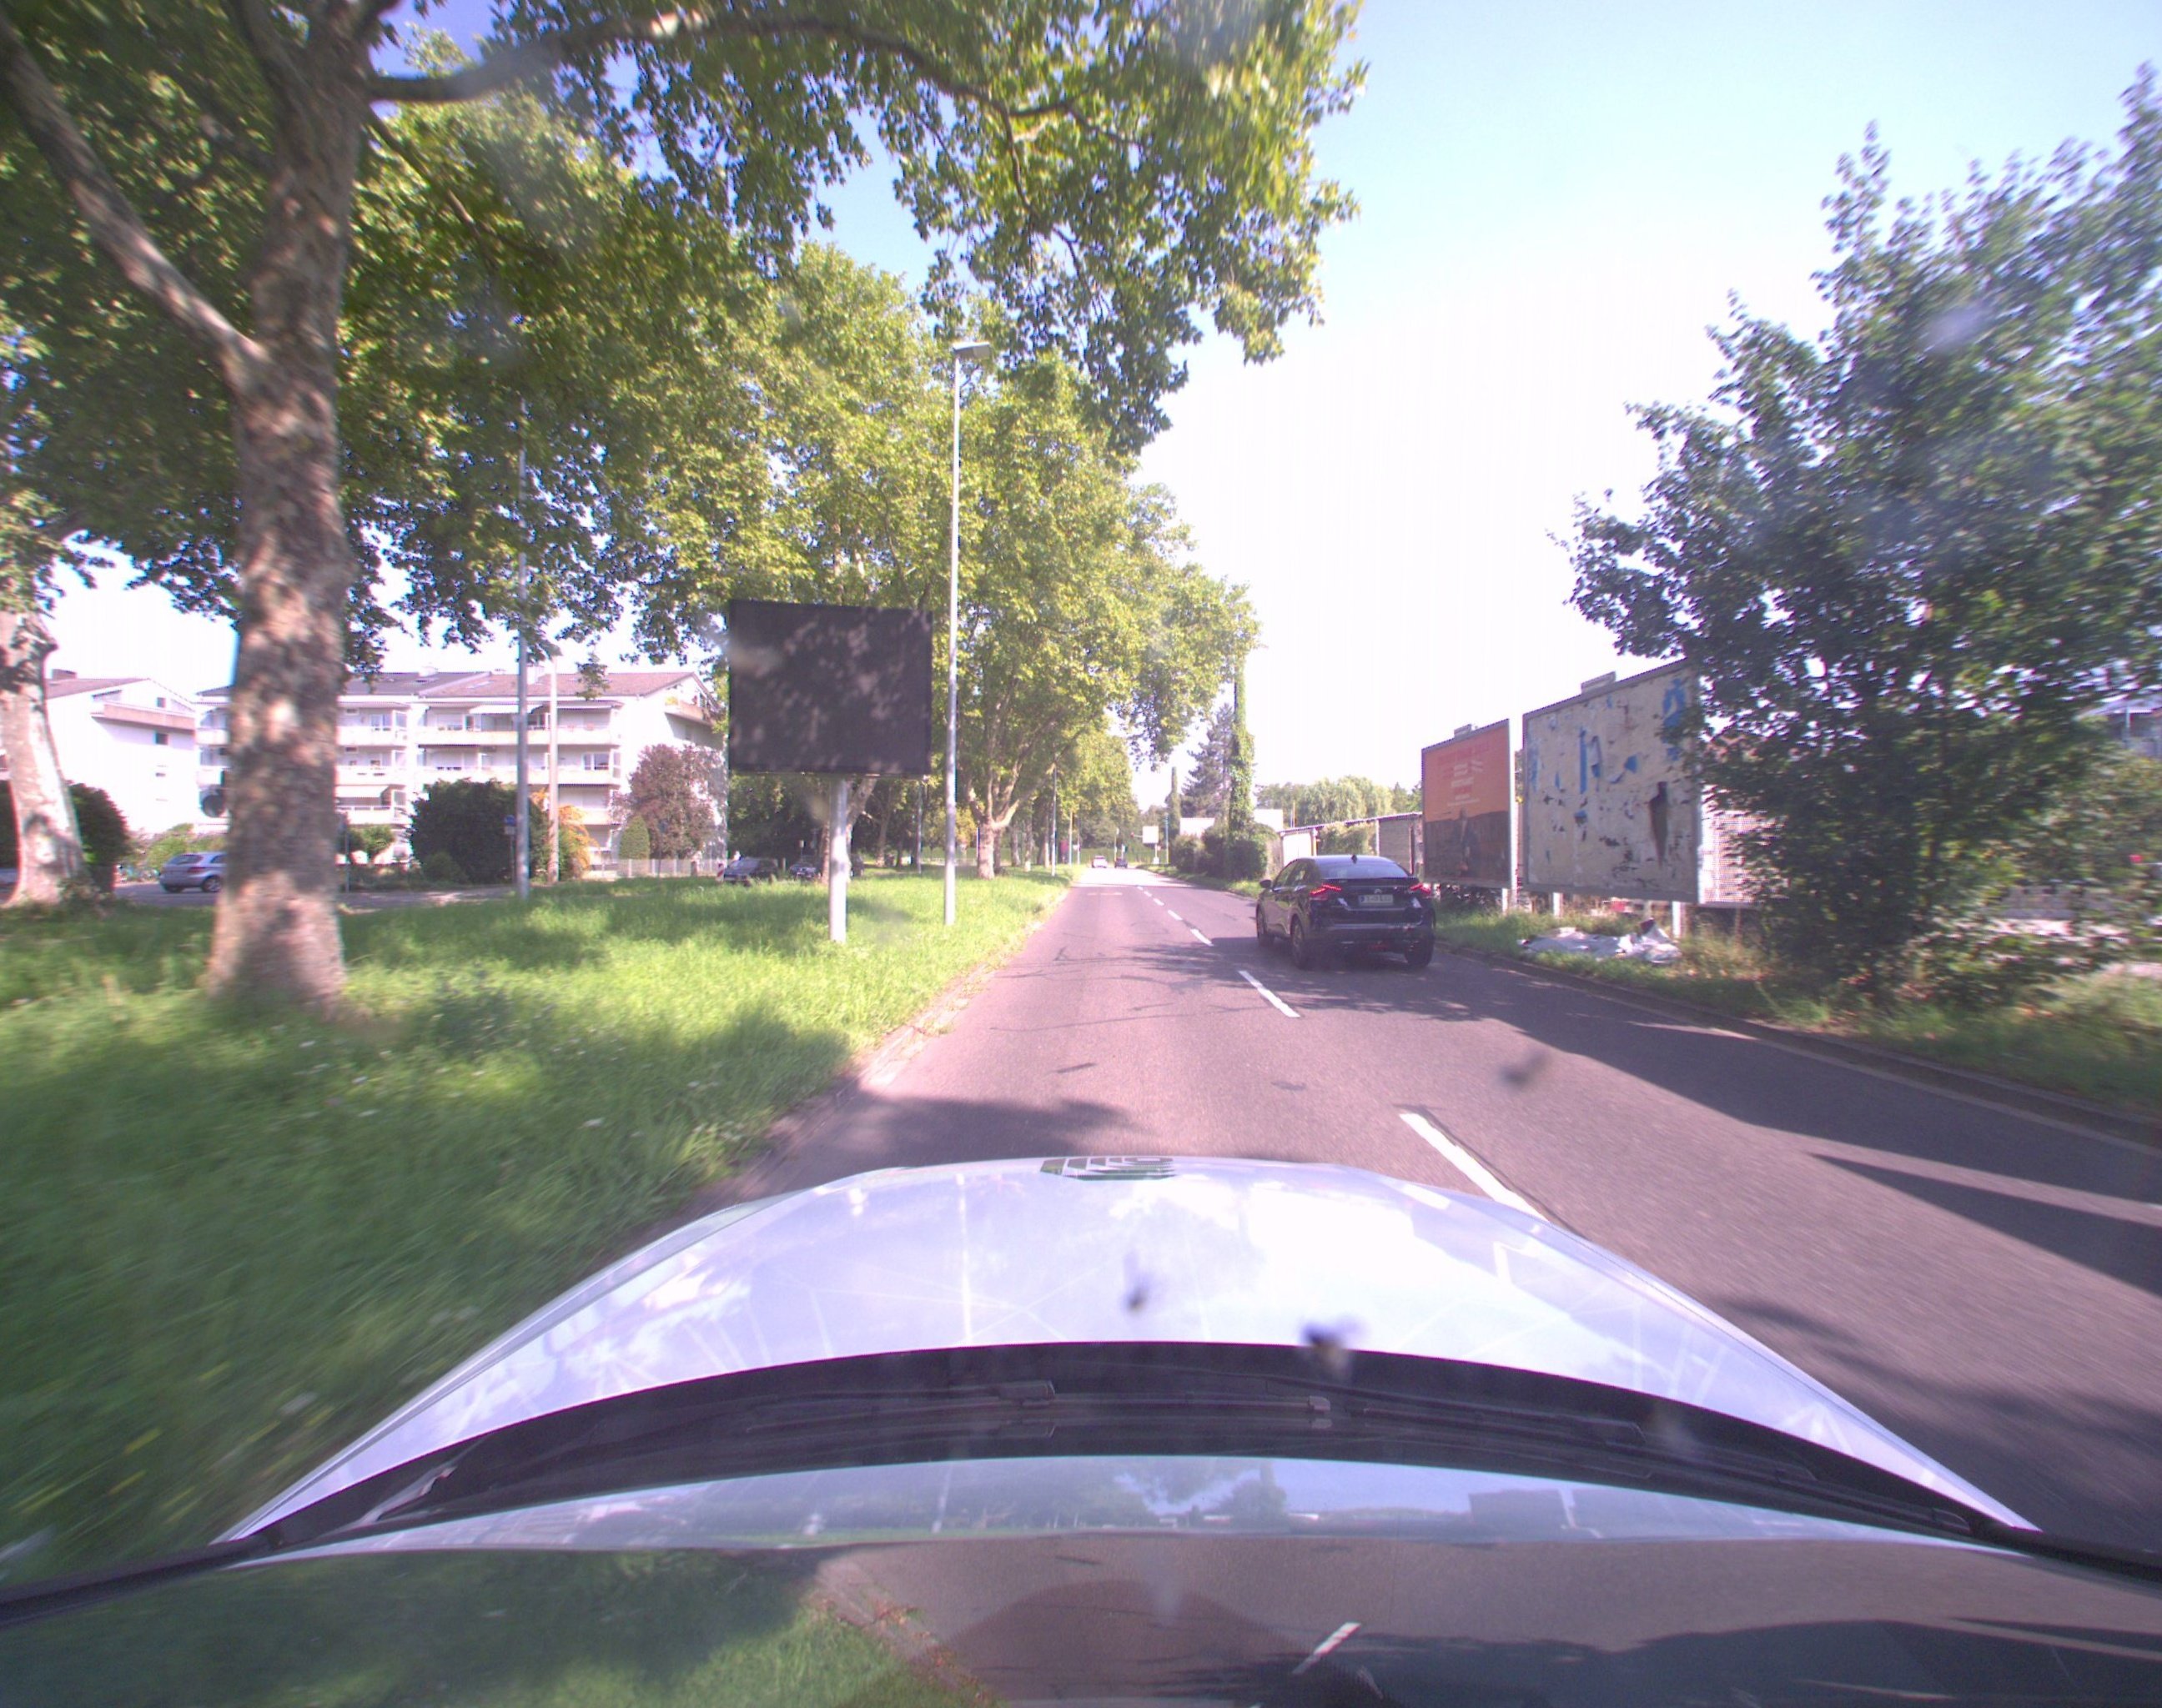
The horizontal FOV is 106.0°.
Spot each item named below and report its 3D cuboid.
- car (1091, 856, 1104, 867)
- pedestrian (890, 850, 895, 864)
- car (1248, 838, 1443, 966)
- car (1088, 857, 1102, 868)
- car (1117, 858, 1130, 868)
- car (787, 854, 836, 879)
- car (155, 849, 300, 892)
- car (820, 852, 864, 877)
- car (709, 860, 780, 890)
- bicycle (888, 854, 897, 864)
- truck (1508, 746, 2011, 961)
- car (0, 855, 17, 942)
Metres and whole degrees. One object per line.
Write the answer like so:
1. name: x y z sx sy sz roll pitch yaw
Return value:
1. car: 2.151 0.999 105.845 1.681 1.462 4.002 1 -1 2
2. pedestrian: -22.836 0.310 98.669 0.541 1.691 0.657 1 -1 -2
3. car: 3.736 0.633 12.292 1.639 1.588 4.255 0 -1 1
4. car: 1.938 1.196 114.167 1.679 1.462 3.855 1 -1 5
5. car: 5.970 1.296 114.678 1.791 1.401 4.000 1 -1 1
6. car: -17.316 0.805 52.547 1.693 1.568 4.001 0 -1 2
7. car: -34.479 0.649 33.028 1.600 1.626 3.757 1 -1 9
8. car: -17.397 0.785 59.589 1.693 1.732 4.661 1 -1 2
9. car: -17.737 1.073 43.172 1.693 1.508 4.542 0 -1 2
10. bicycle: -22.845 0.562 98.674 0.543 1.199 2.759 1 -1 -2
11. truck: 8.902 0.036 11.975 1.907 2.233 6.917 1 -1 3
12. car: -18.758 0.716 11.574 1.794 1.430 4.067 1 0 3
